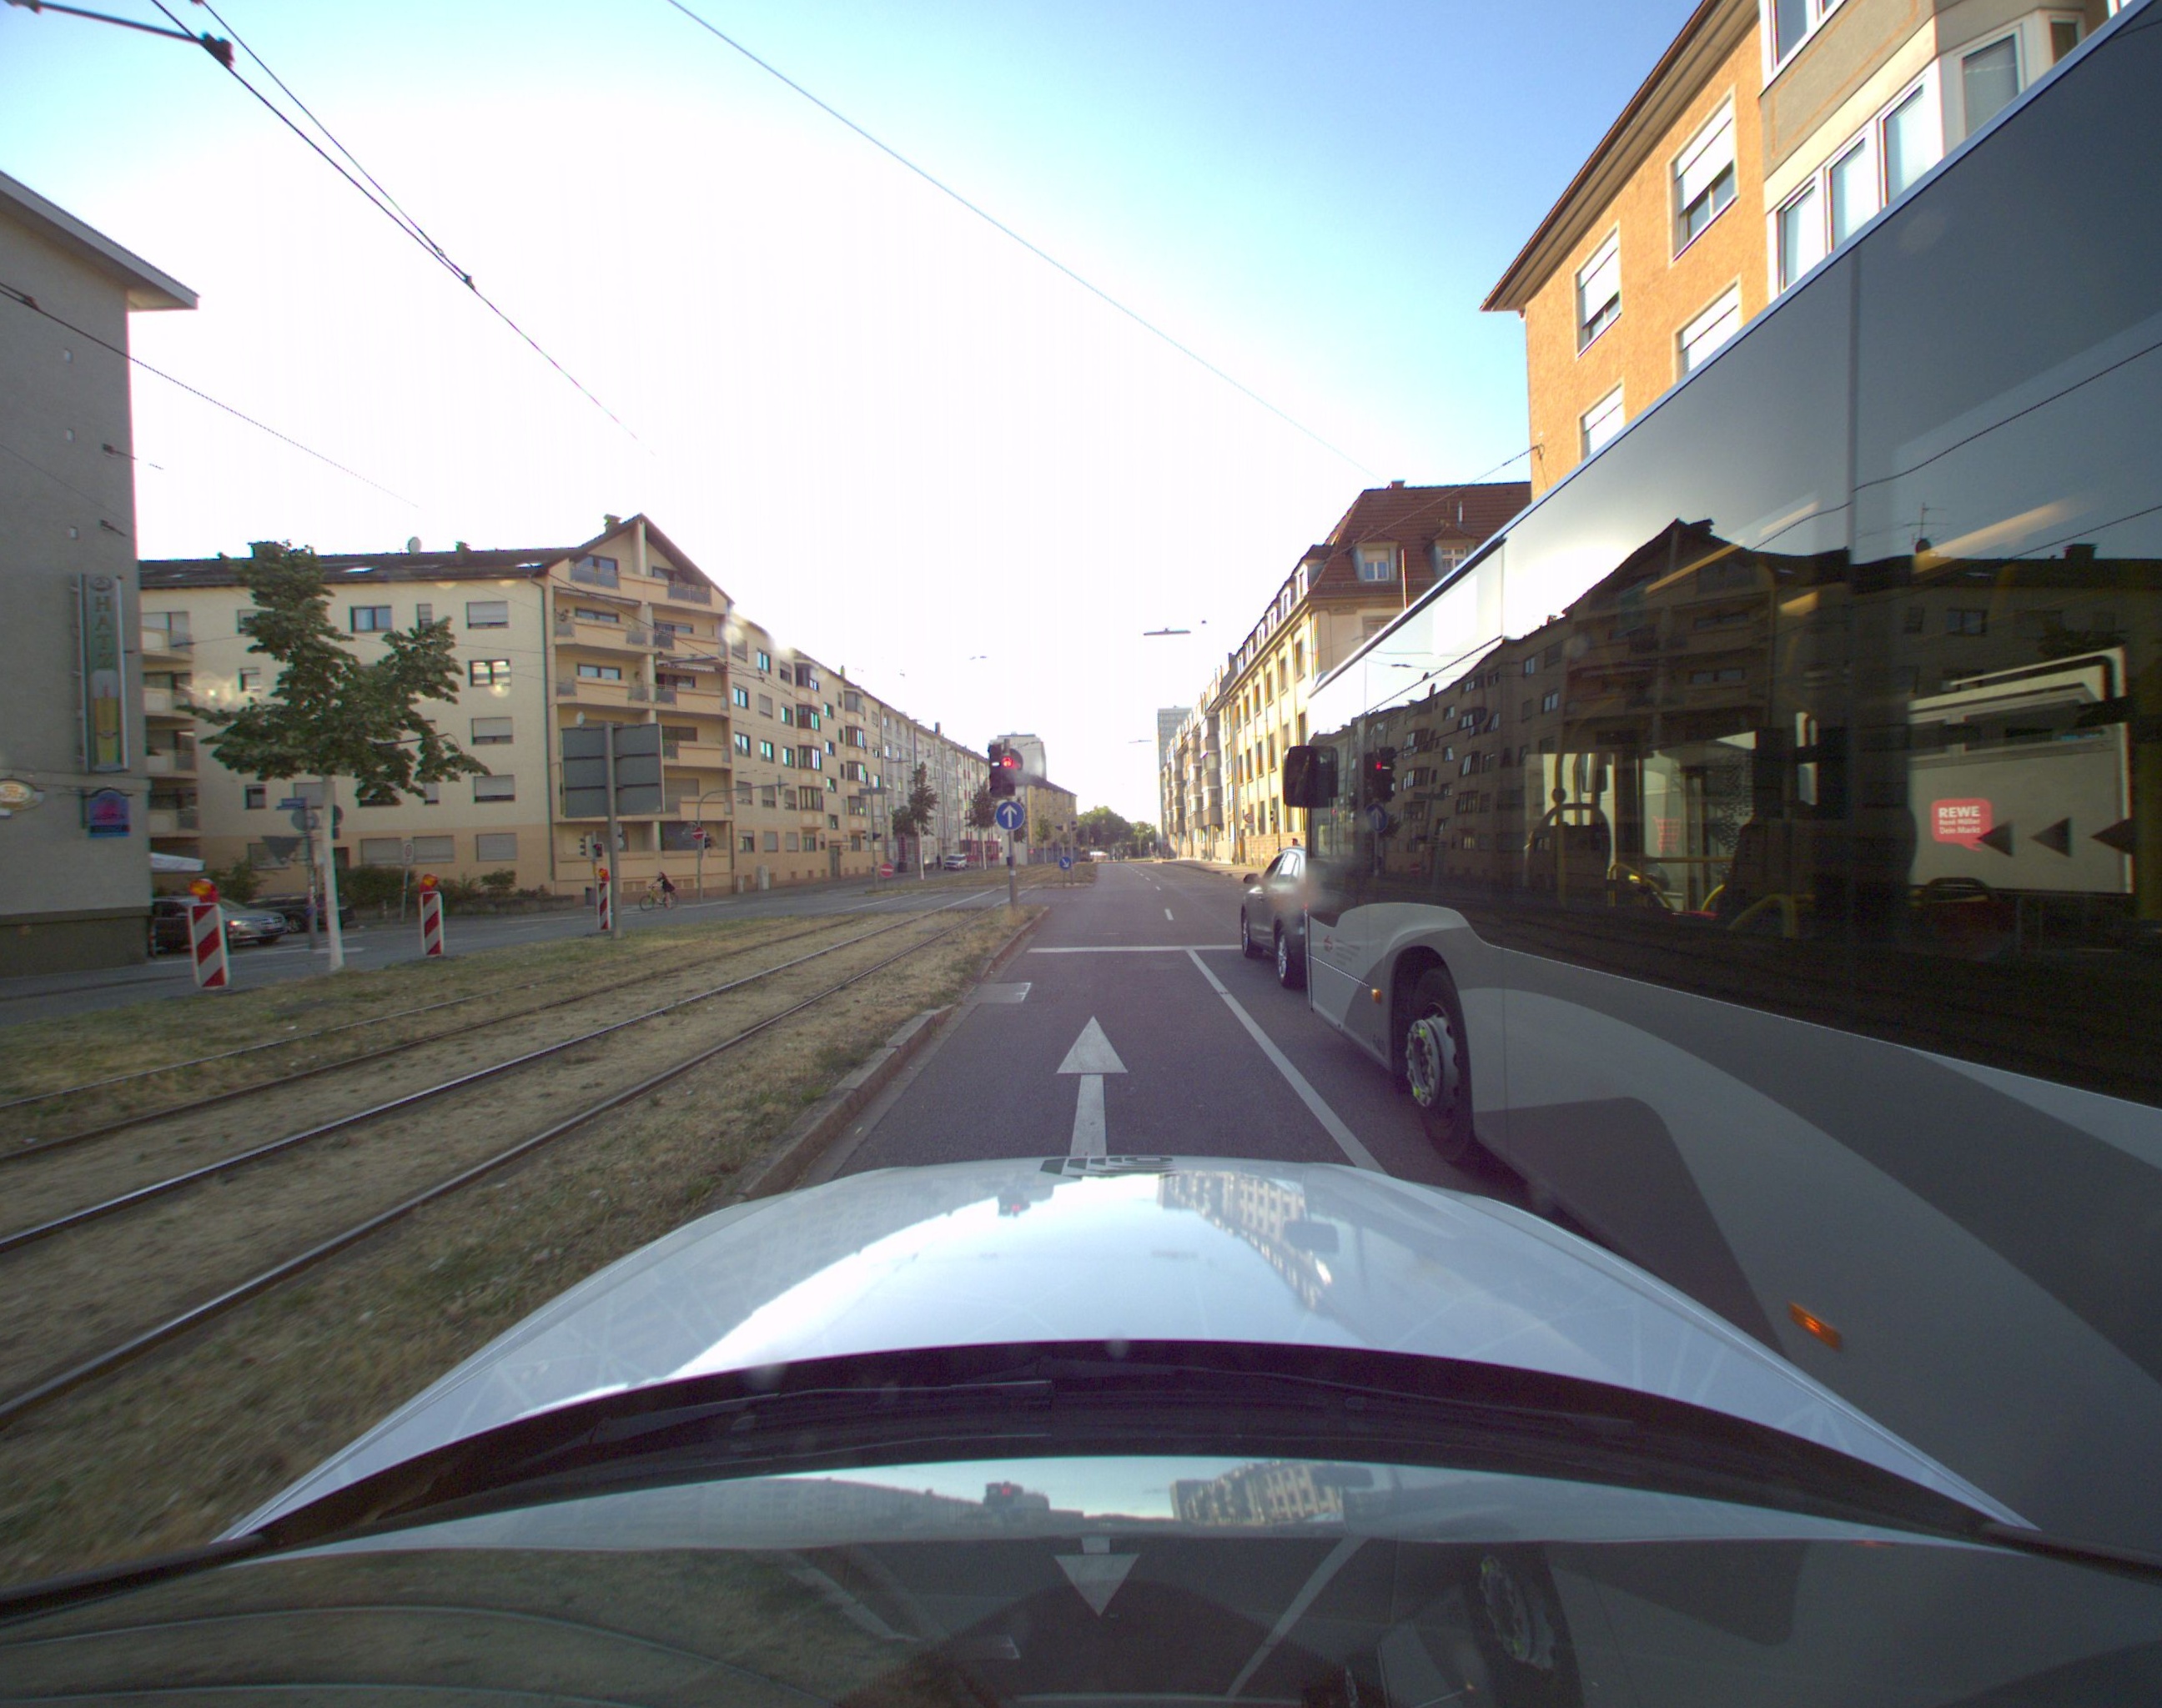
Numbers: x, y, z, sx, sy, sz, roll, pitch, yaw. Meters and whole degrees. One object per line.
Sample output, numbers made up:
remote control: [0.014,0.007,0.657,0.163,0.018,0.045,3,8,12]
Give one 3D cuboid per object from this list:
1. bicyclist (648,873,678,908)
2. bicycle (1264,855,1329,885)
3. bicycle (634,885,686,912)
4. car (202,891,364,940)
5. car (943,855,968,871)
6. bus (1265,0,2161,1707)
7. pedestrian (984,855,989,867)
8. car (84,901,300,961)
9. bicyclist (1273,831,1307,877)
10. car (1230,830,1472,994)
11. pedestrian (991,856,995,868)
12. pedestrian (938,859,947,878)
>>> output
bicyclist: [-17.748,1.548,34.585,0.522,1.447,0.971,-3,0,32]
bicycle: [7.445,0.560,28.194,1.977,0.894,0.784,-4,-1,-8]
bicycle: [-17.799,1.868,34.456,0.522,0.984,1.895,-3,0,32]
car: [-29.823,2.278,30.561,3.956,1.439,1.785,-3,0,-9]
car: [-13.963,0.986,90.895,1.804,1.798,4.248,-1,-1,3]
bus: [2.798,-0.105,2.281,2.728,3.056,9.135,-1,0,2]
pedestrian: [-13.273,1.002,114.538,0.493,1.658,0.409,-3,0,2]
car: [-26.438,2.263,24.370,4.106,1.388,1.761,-3,0,-9]
bicyclist: [7.238,-0.004,28.179,0.902,1.526,0.646,-3,0,-8]
car: [3.103,0.579,10.284,1.763,1.575,4.087,-3,0,2]
pedestrian: [-12.408,1.151,114.749,0.493,1.658,0.409,-3,0,2]
pedestrian: [-15.734,1.628,92.275,0.784,2.013,0.890,-3,0,-2]
